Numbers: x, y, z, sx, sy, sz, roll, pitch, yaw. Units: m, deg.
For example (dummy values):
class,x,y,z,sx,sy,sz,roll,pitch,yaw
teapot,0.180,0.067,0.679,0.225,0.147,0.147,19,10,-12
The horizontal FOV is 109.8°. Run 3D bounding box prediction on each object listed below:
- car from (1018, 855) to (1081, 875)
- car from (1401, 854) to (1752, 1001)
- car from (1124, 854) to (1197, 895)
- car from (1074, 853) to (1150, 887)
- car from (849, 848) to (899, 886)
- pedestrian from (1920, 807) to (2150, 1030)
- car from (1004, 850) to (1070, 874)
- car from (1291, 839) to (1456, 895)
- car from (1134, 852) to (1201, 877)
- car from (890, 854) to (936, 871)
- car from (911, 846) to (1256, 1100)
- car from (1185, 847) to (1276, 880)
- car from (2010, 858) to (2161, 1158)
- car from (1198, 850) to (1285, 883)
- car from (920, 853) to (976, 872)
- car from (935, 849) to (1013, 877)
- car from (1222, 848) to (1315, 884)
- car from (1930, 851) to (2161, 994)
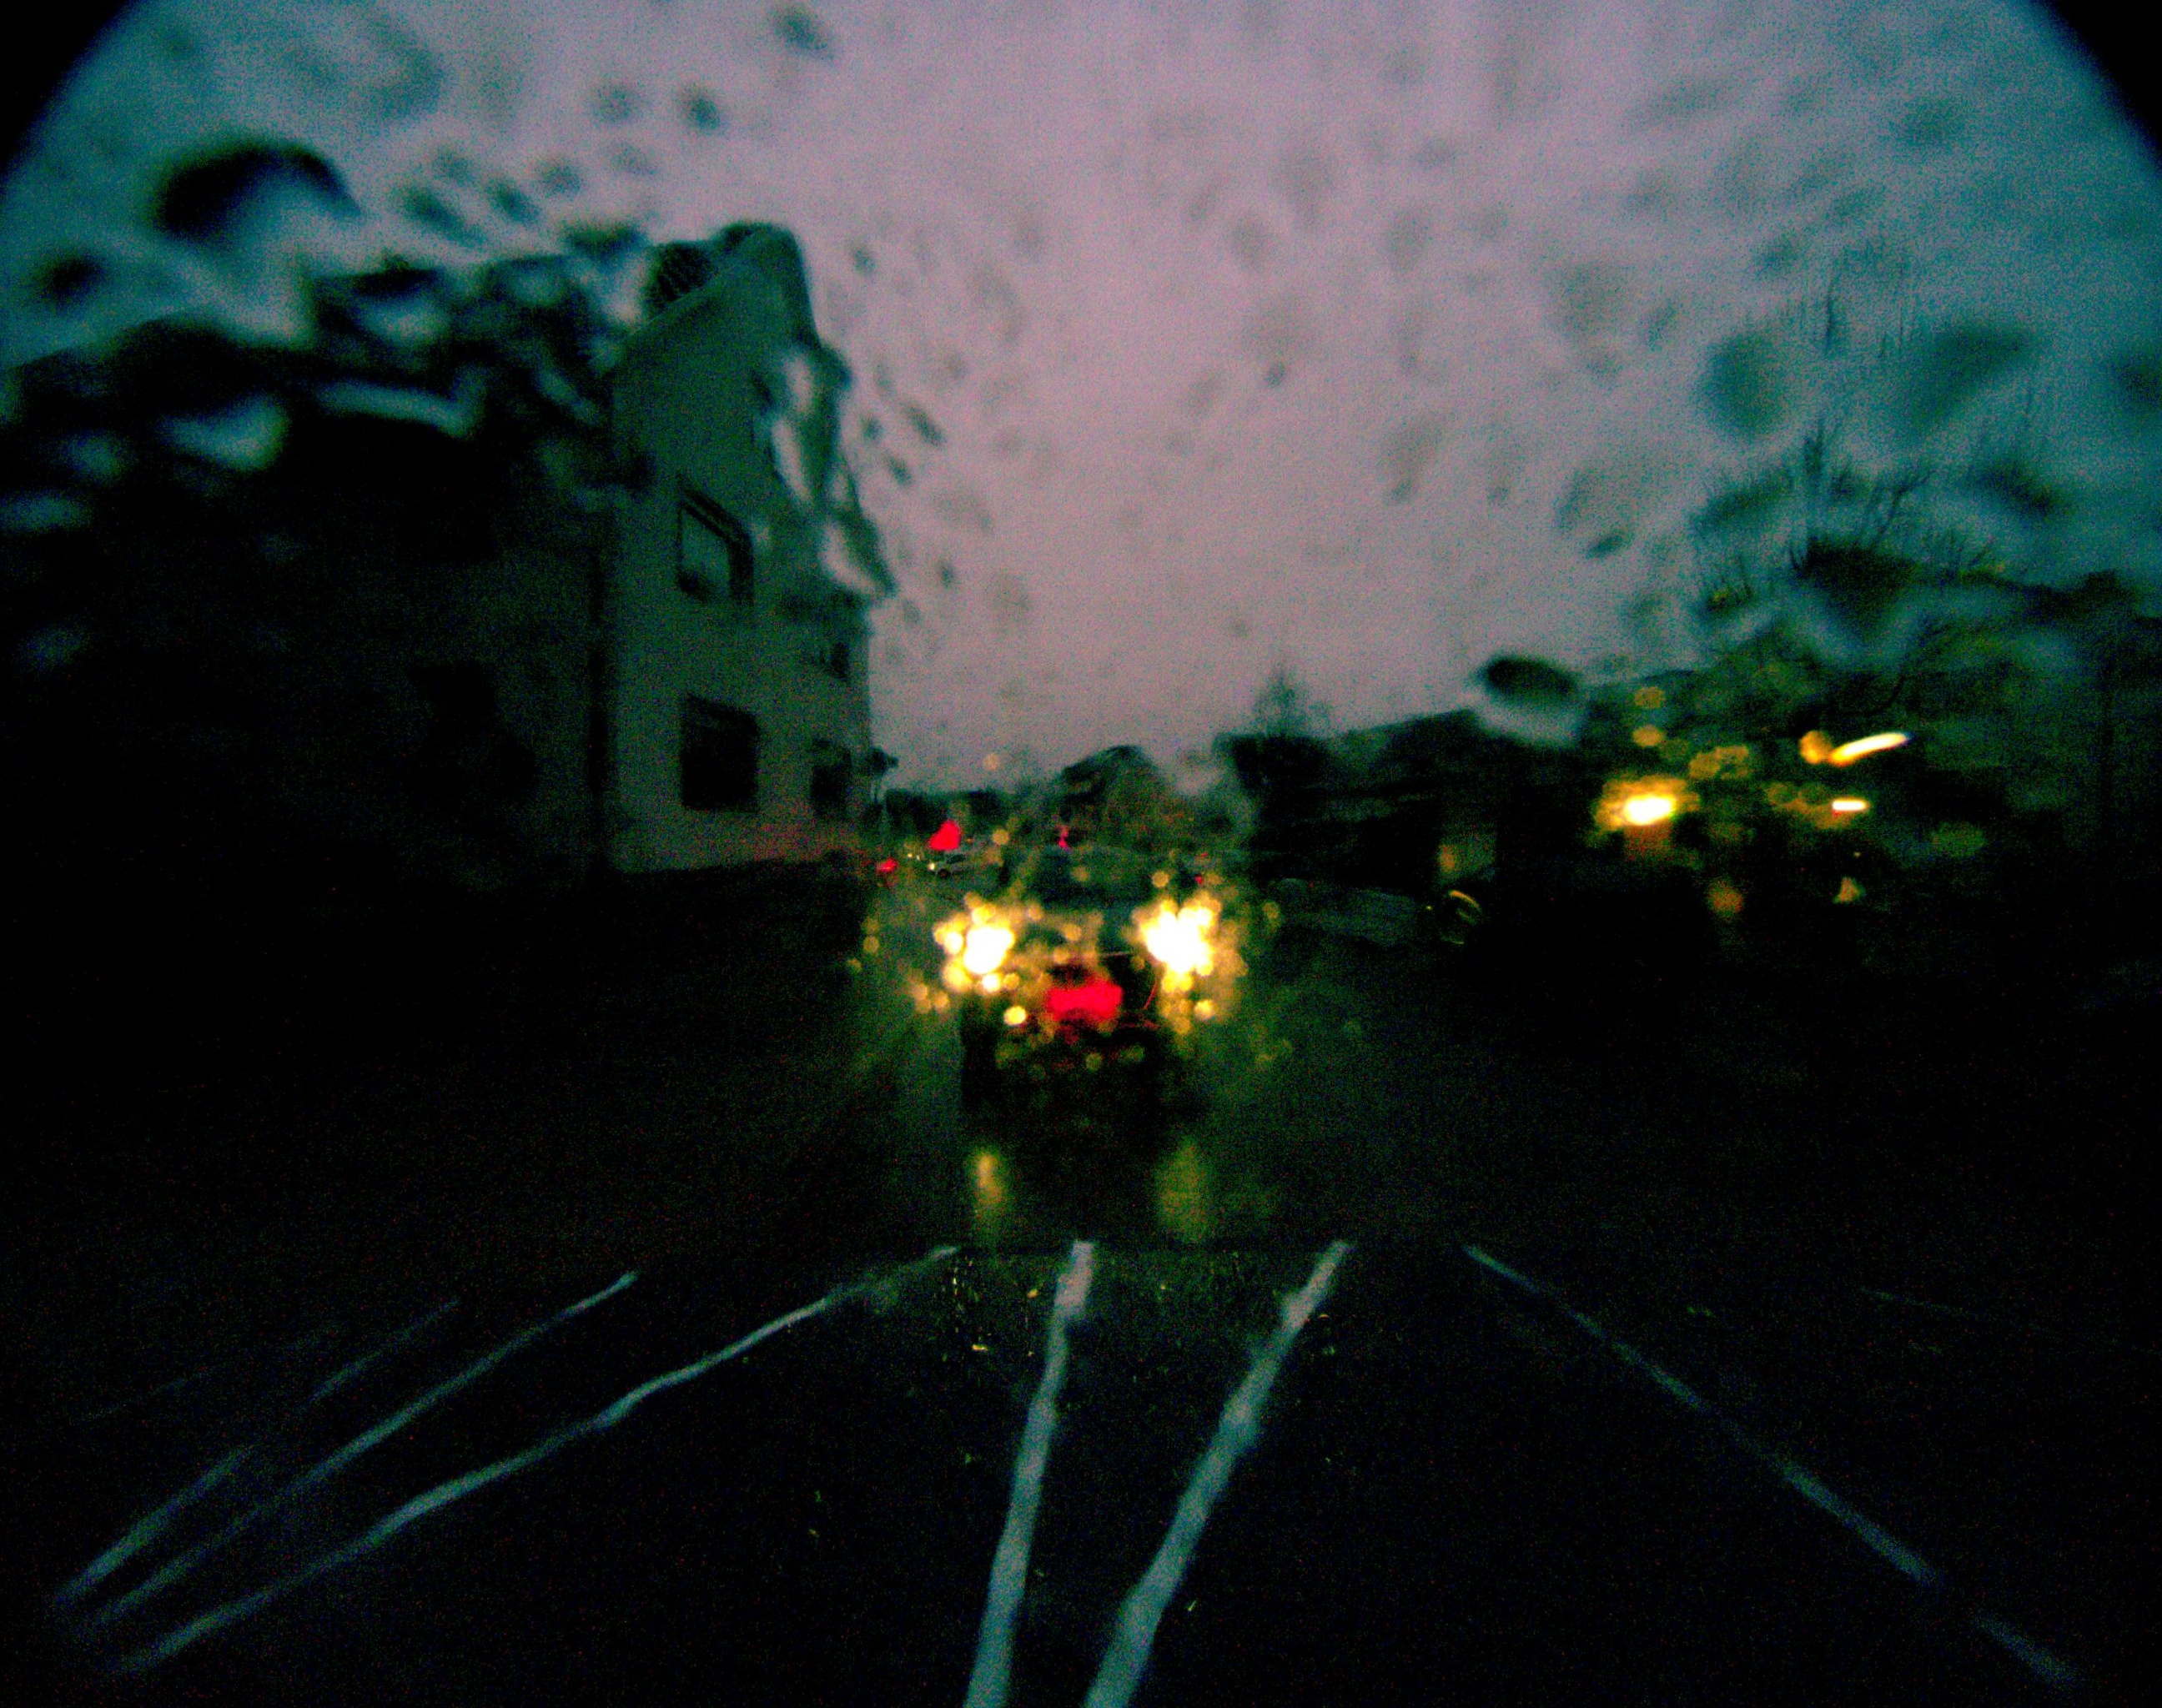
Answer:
class,x,y,z,sx,sy,sz,roll,pitch,yaw
car,-2.575,0.911,62.142,4.775,1.625,1.997,1,-1,-21
car,6.216,0.782,10.304,1.751,1.464,4.457,-2,0,-1
car,3.175,0.773,30.978,1.840,1.527,3.671,-2,1,-13
car,1.456,0.736,37.281,1.913,1.524,4.247,-2,0,-26
car,-11.475,0.701,41.943,1.982,1.948,4.842,-1,0,-23
pedestrian,8.577,0.540,6.895,0.755,1.856,1.060,-1,1,1
car,-3.314,0.575,57.329,4.456,1.623,2.150,-1,1,-29
car,10.403,0.442,27.466,5.387,1.874,2.076,0,0,16
car,5.342,0.647,47.152,4.069,1.451,1.758,-1,1,4
car,-17.979,0.912,81.218,4.435,1.790,1.840,-1,0,-30
car,-0.089,0.771,7.592,2.270,1.633,5.064,-1,0,-3
car,7.886,0.486,40.441,4.649,1.644,1.989,0,1,9
car,6.451,0.793,2.667,1.697,1.507,3.772,-2,0,-2
car,7.873,0.585,37.639,4.107,1.573,1.722,0,1,9
car,-12.808,0.813,73.031,4.888,1.674,1.996,-1,-1,-28
car,-8.419,0.662,59.723,5.783,1.934,1.988,-2,0,-16
car,8.534,0.557,34.799,3.993,1.521,2.002,-1,0,13
car,12.485,0.715,8.185,4.078,1.468,1.742,0,0,23
